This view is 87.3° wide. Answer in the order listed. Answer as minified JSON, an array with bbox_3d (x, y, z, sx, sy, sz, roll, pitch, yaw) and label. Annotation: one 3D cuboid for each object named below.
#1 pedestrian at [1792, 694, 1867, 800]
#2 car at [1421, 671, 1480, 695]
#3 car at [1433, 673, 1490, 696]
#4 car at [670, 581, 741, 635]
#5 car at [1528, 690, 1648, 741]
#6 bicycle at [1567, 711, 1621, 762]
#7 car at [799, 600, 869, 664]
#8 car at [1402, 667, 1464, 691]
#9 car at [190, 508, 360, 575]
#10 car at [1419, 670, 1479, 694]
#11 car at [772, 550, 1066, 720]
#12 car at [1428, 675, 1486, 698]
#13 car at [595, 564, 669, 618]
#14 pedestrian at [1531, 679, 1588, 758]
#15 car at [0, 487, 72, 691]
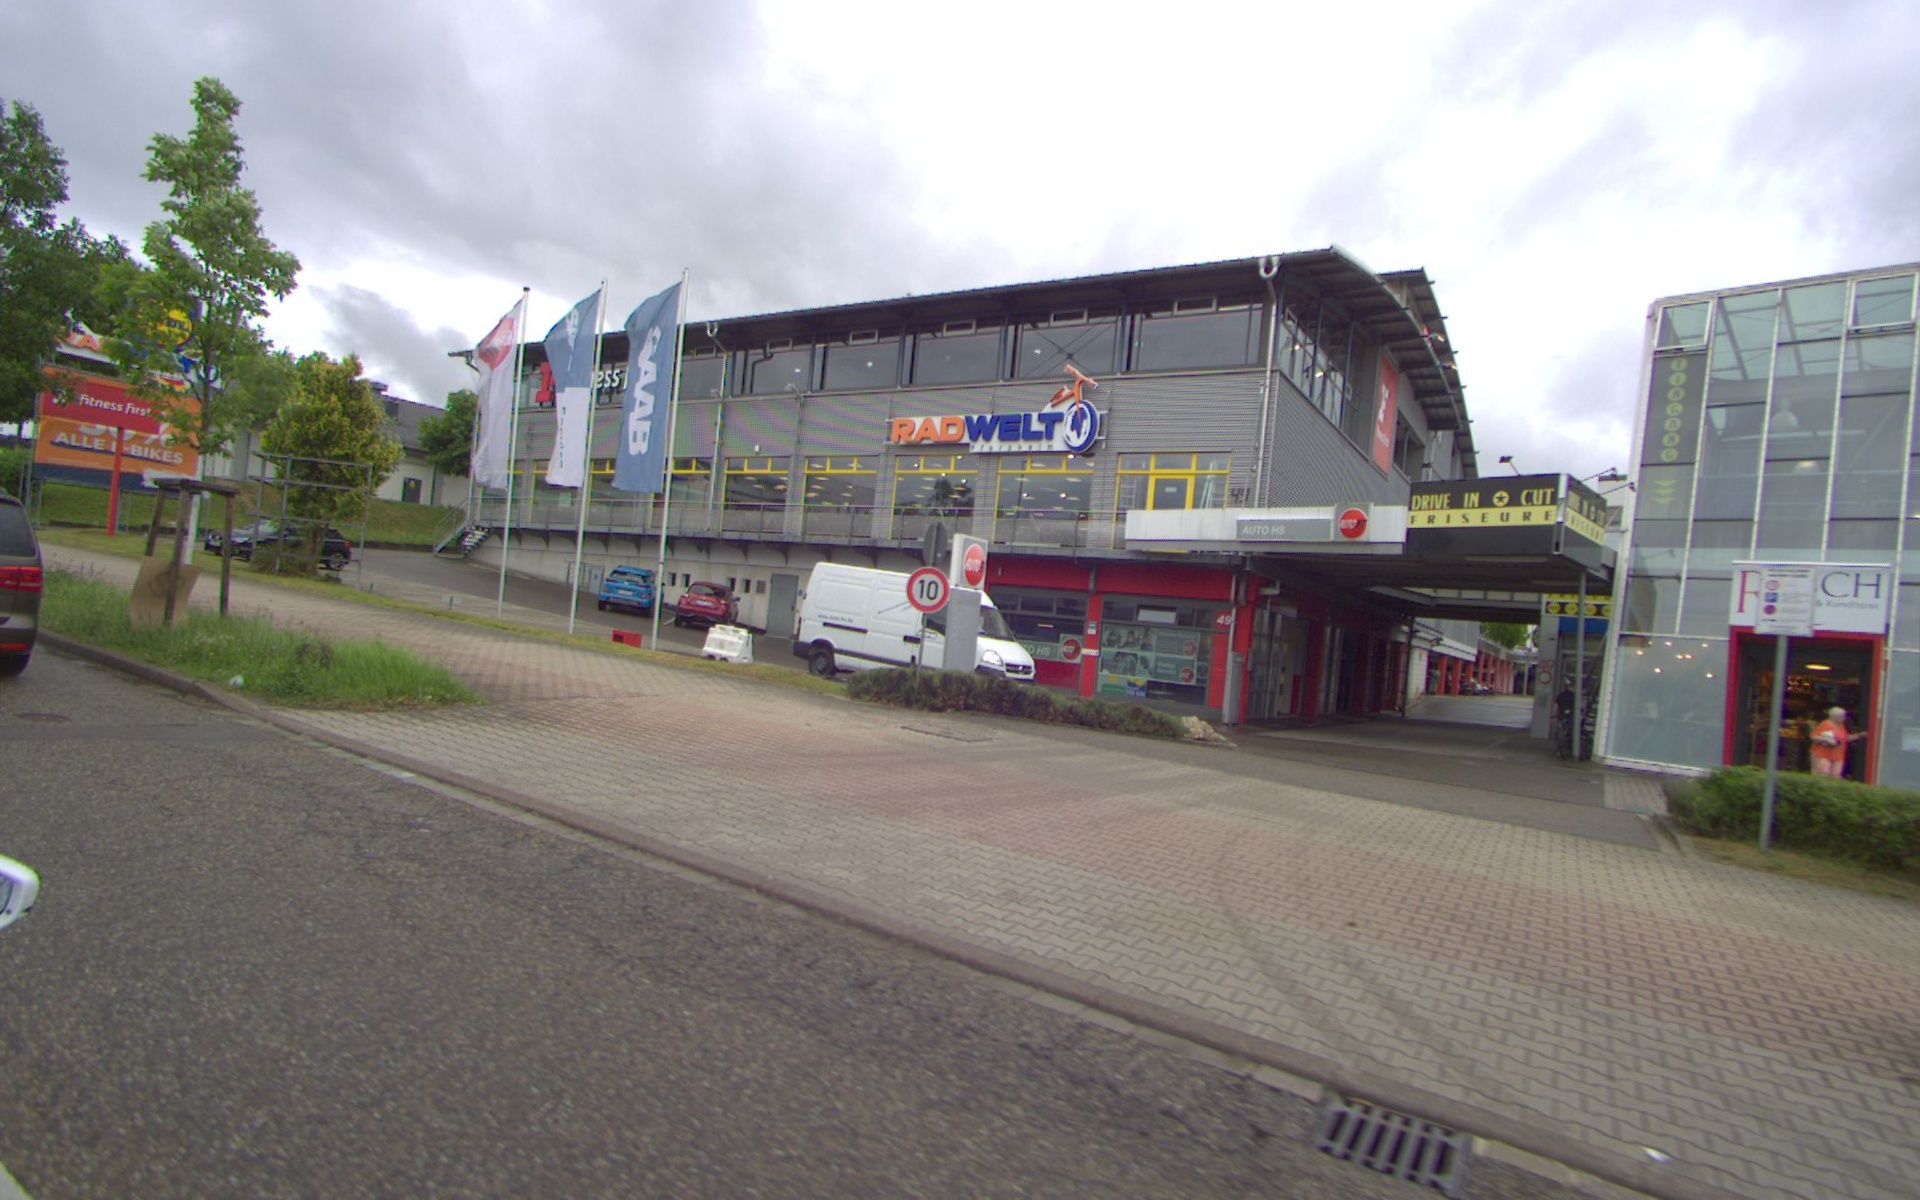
[{"bbox_3d":[15.526,2.618,17.964,0.678,1.780,0.744,6,-1,-32],"label":"pedestrian"},{"bbox_3d":[38.253,6.472,78.504,3.936,1.528,1.797,2,-3,32],"label":"car"},{"bbox_3d":[40.724,6.862,81.672,3.936,1.528,1.797,2,-3,32],"label":"car"},{"bbox_3d":[-8.634,0.229,34.422,1.710,1.520,3.868,9,0,-7],"label":"car"},{"bbox_3d":[26.666,4.889,42.763,3.947,1.528,1.791,6,-1,43],"label":"car"},{"bbox_3d":[15.206,3.278,24.104,1.786,1.120,0.495,8,-2,-39],"label":"bicycle"},{"bbox_3d":[-3.933,0.922,30.819,1.712,1.488,4.250,9,0,-11],"label":"car"},{"bbox_3d":[35.175,5.879,74.822,3.936,1.528,1.797,2,-3,32],"label":"car"},{"bbox_3d":[-21.616,-1.803,31.939,1.763,1.456,4.104,9,0,20],"label":"car"},{"bbox_3d":[37.217,6.225,76.564,3.936,1.528,1.797,2,-3,32],"label":"car"},{"bbox_3d":[-0.953,0.675,20.956,5.589,2.566,2.230,9,-1,35],"label":"car"},{"bbox_3d":[39.538,6.905,80.067,3.936,1.528,1.797,2,-3,32],"label":"car"},{"bbox_3d":[-11.621,-0.349,35.919,1.711,1.578,3.903,9,0,-9],"label":"car"},{"bbox_3d":[14.557,2.877,24.432,0.855,1.798,0.803,7,-1,-39],"label":"pedestrian"},{"bbox_3d":[-9.626,-0.336,8.672,4.148,1.599,1.689,7,-2,32],"label":"car"}]
